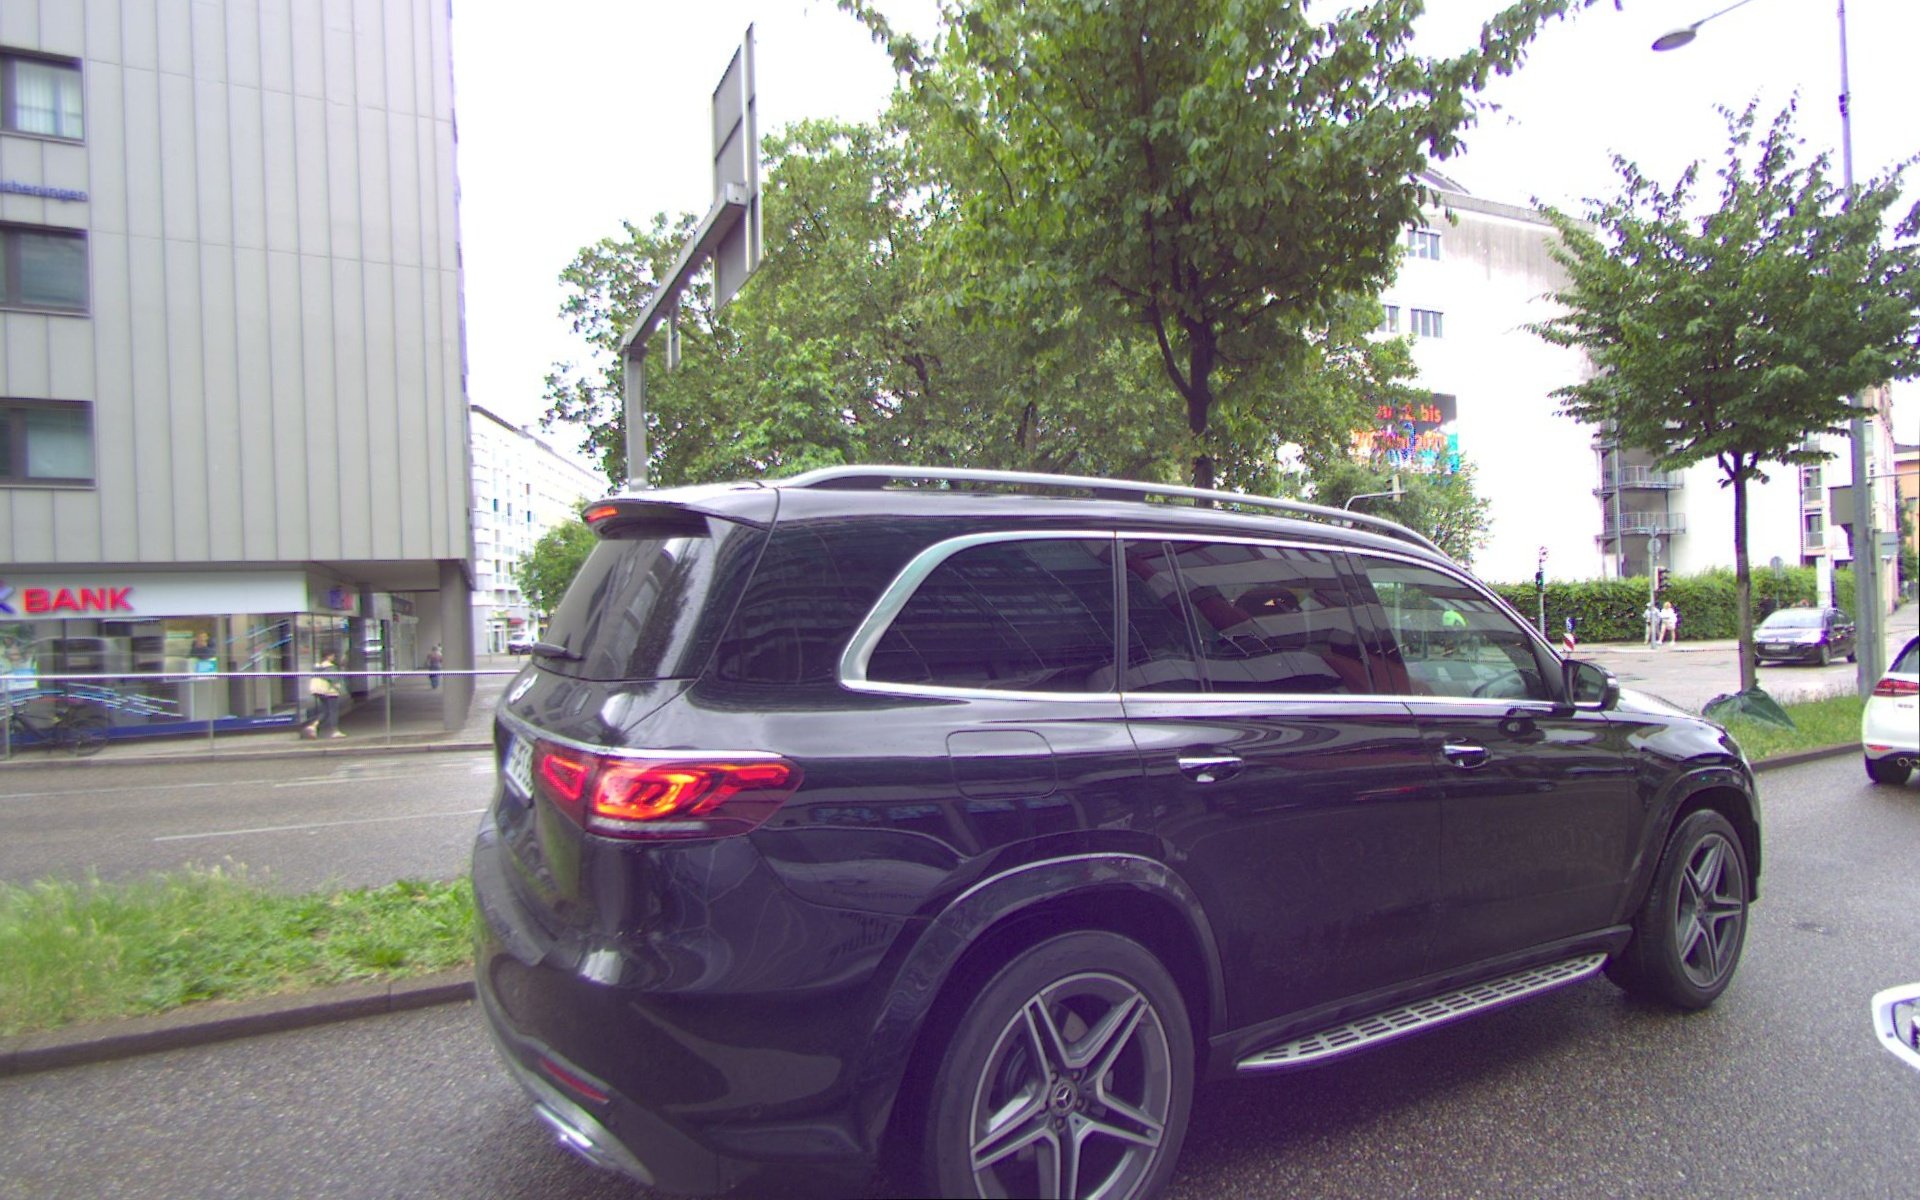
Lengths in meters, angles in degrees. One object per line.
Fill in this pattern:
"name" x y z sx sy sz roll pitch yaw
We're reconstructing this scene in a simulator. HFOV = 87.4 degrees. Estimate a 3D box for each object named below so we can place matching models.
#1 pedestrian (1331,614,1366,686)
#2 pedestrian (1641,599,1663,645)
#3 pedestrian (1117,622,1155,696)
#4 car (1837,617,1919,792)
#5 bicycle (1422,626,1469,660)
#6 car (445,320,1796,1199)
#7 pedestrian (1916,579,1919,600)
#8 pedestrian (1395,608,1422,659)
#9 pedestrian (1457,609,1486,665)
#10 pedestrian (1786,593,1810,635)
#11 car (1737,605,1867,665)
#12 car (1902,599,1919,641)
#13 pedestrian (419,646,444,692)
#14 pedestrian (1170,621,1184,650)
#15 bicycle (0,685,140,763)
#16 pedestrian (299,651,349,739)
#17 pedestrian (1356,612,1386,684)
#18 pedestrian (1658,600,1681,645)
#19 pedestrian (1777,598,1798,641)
"pedestrian" 9.920 1.268 25.648 0.408 1.787 0.670 -3 0 -35
"pedestrian" 27.791 0.878 40.342 0.586 1.788 0.523 -2 2 -34
"pedestrian" 4.685 1.577 26.777 0.844 1.931 0.827 1 -2 -1
"car" 9.828 0.896 9.131 3.956 1.428 1.755 0 1 -33
"bicycle" 17.294 1.508 35.741 2.039 1.125 0.645 -1 -1 -38
"car" 0.893 0.521 3.727 4.832 1.801 1.983 2 0 -32
"pedestrian" 83.896 -0.882 87.541 0.951 1.818 0.692 -1 0 -41
"pedestrian" 16.008 1.184 35.880 0.778 1.804 0.653 0 -2 13
"pedestrian" 16.439 1.192 32.269 0.587 1.787 0.642 2 -2 -37
"pedestrian" 35.826 0.602 42.949 0.587 1.787 0.637 2 -2 -36
"car" 22.982 0.948 27.396 3.837 1.510 1.610 0 -4 -33
"car" 36.557 0.694 37.112 3.603 1.535 1.663 -1 -3 -32
"pedestrian" -20.750 2.696 39.410 0.807 1.734 0.675 2 0 -30
"pedestrian" 12.262 1.981 56.764 0.522 1.621 0.555 -1 -1 -26
"bicycle" -16.669 2.249 18.328 2.545 1.282 0.683 0 -2 -30
"pedestrian" -12.901 1.904 20.388 0.718 1.740 0.595 2 -3 -25
"pedestrian" 10.747 1.246 26.265 0.670 1.861 0.443 2 -2 -37
"pedestrian" 28.169 0.887 39.862 0.586 1.788 0.523 0 2 -34
"pedestrian" 34.602 0.829 42.003 0.624 1.787 0.523 2 -2 -36
